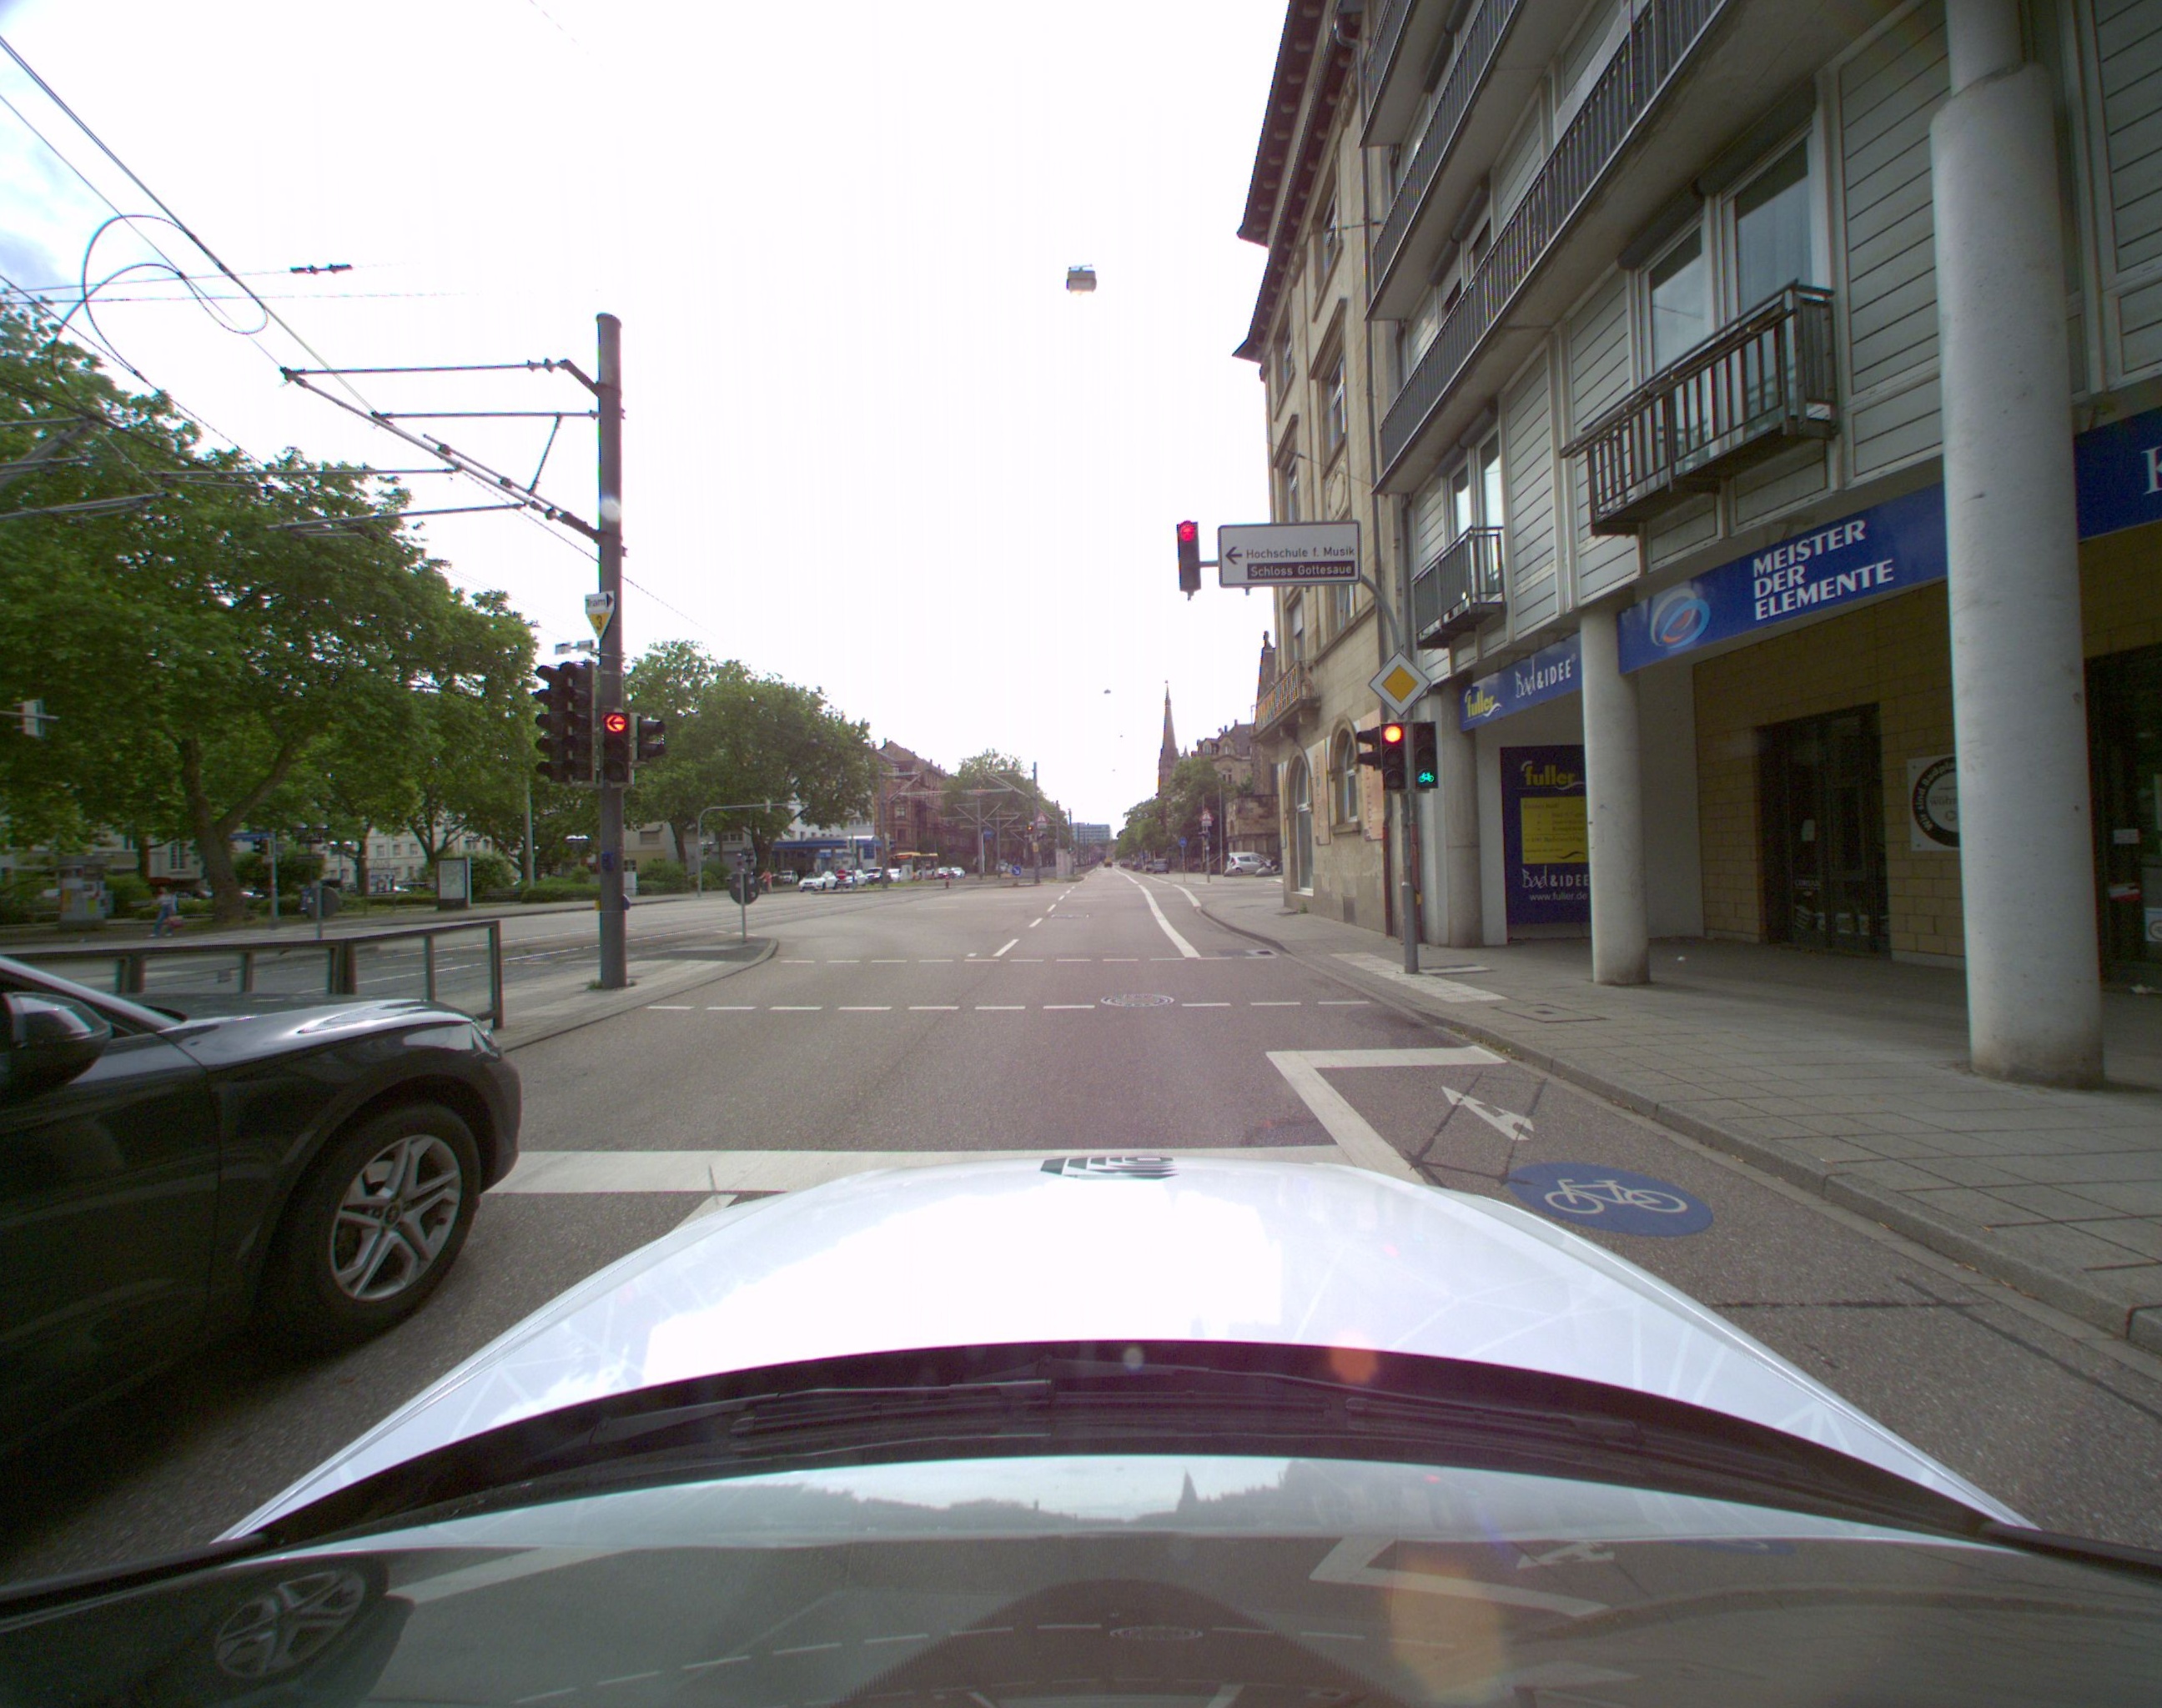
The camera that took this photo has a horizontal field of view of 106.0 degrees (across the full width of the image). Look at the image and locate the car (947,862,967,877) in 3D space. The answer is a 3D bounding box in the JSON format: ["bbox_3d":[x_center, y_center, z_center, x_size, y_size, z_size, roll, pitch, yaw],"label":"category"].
[{"bbox_3d":[-16.757,2.064,110.186,1.986,2.014,4.001,0,-1,2],"label":"car"}]

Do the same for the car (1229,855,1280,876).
[{"bbox_3d":[13.740,0.916,64.718,3.699,1.563,2.001,0,-1,2],"label":"car"}]

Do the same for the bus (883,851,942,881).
[{"bbox_3d":[-18.307,1.299,89.715,3.217,3.035,12.323,0,0,4],"label":"bus"}]

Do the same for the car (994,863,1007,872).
[{"bbox_3d":[-14.802,2.450,149.898,1.986,1.610,4.001,0,-1,2],"label":"car"}]

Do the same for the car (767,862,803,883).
[{"bbox_3d":[-29.825,1.819,82.126,1.986,2.014,4.001,-2,0,2],"label":"car"}]

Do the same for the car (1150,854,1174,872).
[{"bbox_3d":[8.966,0.998,89.950,1.979,1.855,4.042,-1,-1,14],"label":"car"}]

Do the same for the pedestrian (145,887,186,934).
[{"bbox_3d":[-30.433,1.873,27.086,0.657,1.510,0.678,-1,-1,-20],"label":"pedestrian"}]

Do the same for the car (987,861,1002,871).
[{"bbox_3d":[-15.061,2.068,142.089,1.986,1.610,4.001,0,-1,2],"label":"car"}]

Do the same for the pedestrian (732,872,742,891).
[{"bbox_3d":[-26.342,2.084,62.364,0.474,1.459,0.426,-2,-1,1],"label":"pedestrian"}]

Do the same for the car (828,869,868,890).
[{"bbox_3d":[-18.851,2.055,66.074,1.986,1.594,4.001,0,-1,2],"label":"car"}]

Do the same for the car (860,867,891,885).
[{"bbox_3d":[-18.337,1.928,72.717,1.649,1.478,3.641,0,-1,3],"label":"car"}]

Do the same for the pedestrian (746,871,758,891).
[{"bbox_3d":[-25.316,2.085,62.610,0.645,1.479,0.557,-2,-1,1],"label":"pedestrian"}]

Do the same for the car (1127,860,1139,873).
[{"bbox_3d":[8.687,2.067,136.179,1.986,2.014,4.001,0,-1,2],"label":"car"}]

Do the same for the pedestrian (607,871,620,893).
[{"bbox_3d":[-36.395,2.192,63.358,0.596,1.700,0.615,-2,-1,30],"label":"pedestrian"}]

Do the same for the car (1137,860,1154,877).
[{"bbox_3d":[7.887,1.708,99.659,1.985,2.014,4.004,0,-1,4],"label":"car"}]

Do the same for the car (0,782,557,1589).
[{"bbox_3d":[-3.075,0.674,1.228,1.727,1.637,4.228,0,-1,2],"label":"car"}]

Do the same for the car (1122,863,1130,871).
[{"bbox_3d":[11.902,3.391,216.785,1.986,2.014,4.001,0,-1,2],"label":"car"}]

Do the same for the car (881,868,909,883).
[{"bbox_3d":[-18.166,2.100,79.638,1.649,1.321,3.641,0,-1,3],"label":"car"}]

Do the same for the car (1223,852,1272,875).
[{"bbox_3d":[13.920,0.800,68.236,3.699,1.855,2.001,0,-1,2],"label":"car"}]

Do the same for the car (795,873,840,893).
[{"bbox_3d":[-19.174,2.074,59.511,1.739,1.321,4.079,0,-1,3],"label":"car"}]

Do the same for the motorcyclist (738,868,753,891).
[{"bbox_3d":[-22.653,1.732,55.026,0.617,1.520,0.874,-1,-1,2],"label":"motorcyclist"}]

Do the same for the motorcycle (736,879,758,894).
[{"bbox_3d":[-22.634,2.174,55.208,0.604,0.928,1.953,-1,-1,2],"label":"motorcycle"}]

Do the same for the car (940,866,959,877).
[{"bbox_3d":[-16.559,2.193,102.799,1.649,1.321,3.641,0,-1,3],"label":"car"}]

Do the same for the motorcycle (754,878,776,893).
[{"bbox_3d":[-21.592,2.145,55.668,0.604,0.928,1.953,-1,-1,2],"label":"motorcycle"}]

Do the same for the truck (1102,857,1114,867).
[{"bbox_3d":[8.019,2.273,241.899,3.040,2.769,9.830,-2,0,6],"label":"truck"}]

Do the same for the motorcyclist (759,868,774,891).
[{"bbox_3d":[-21.575,1.743,55.843,0.617,1.520,0.874,-1,-1,2],"label":"motorcyclist"}]
